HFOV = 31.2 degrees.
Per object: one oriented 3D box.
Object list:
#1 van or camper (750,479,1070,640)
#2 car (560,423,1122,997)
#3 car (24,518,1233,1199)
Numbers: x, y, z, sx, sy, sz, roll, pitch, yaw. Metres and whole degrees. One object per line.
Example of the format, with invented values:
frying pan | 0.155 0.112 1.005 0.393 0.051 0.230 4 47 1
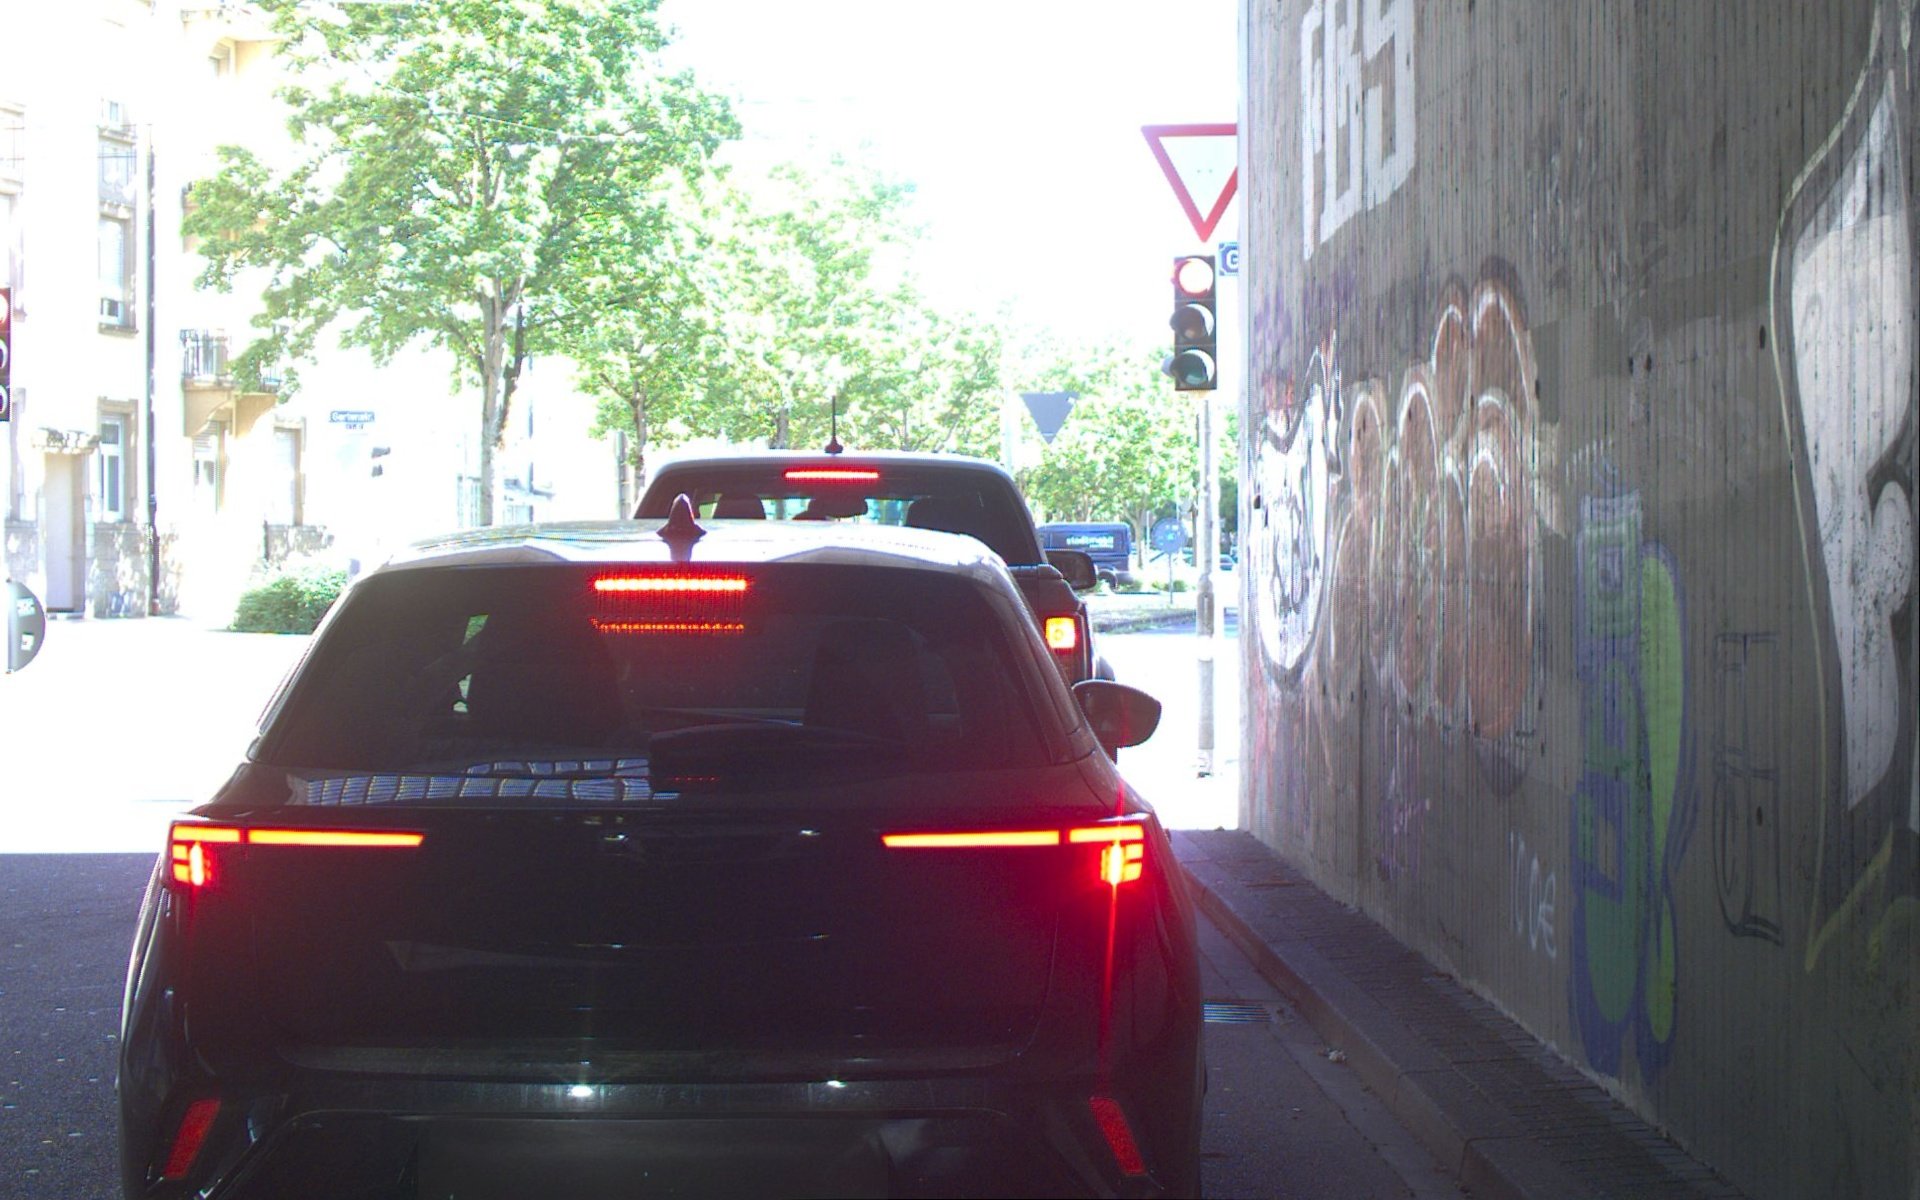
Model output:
van or camper | -0.612 -0.528 44.275 3.878 2.007 2.000 0 1 7
car | -0.404 0.315 13.045 1.786 1.827 3.961 1 1 -1
car | -0.502 0.600 7.037 1.753 1.493 4.000 1 1 0
